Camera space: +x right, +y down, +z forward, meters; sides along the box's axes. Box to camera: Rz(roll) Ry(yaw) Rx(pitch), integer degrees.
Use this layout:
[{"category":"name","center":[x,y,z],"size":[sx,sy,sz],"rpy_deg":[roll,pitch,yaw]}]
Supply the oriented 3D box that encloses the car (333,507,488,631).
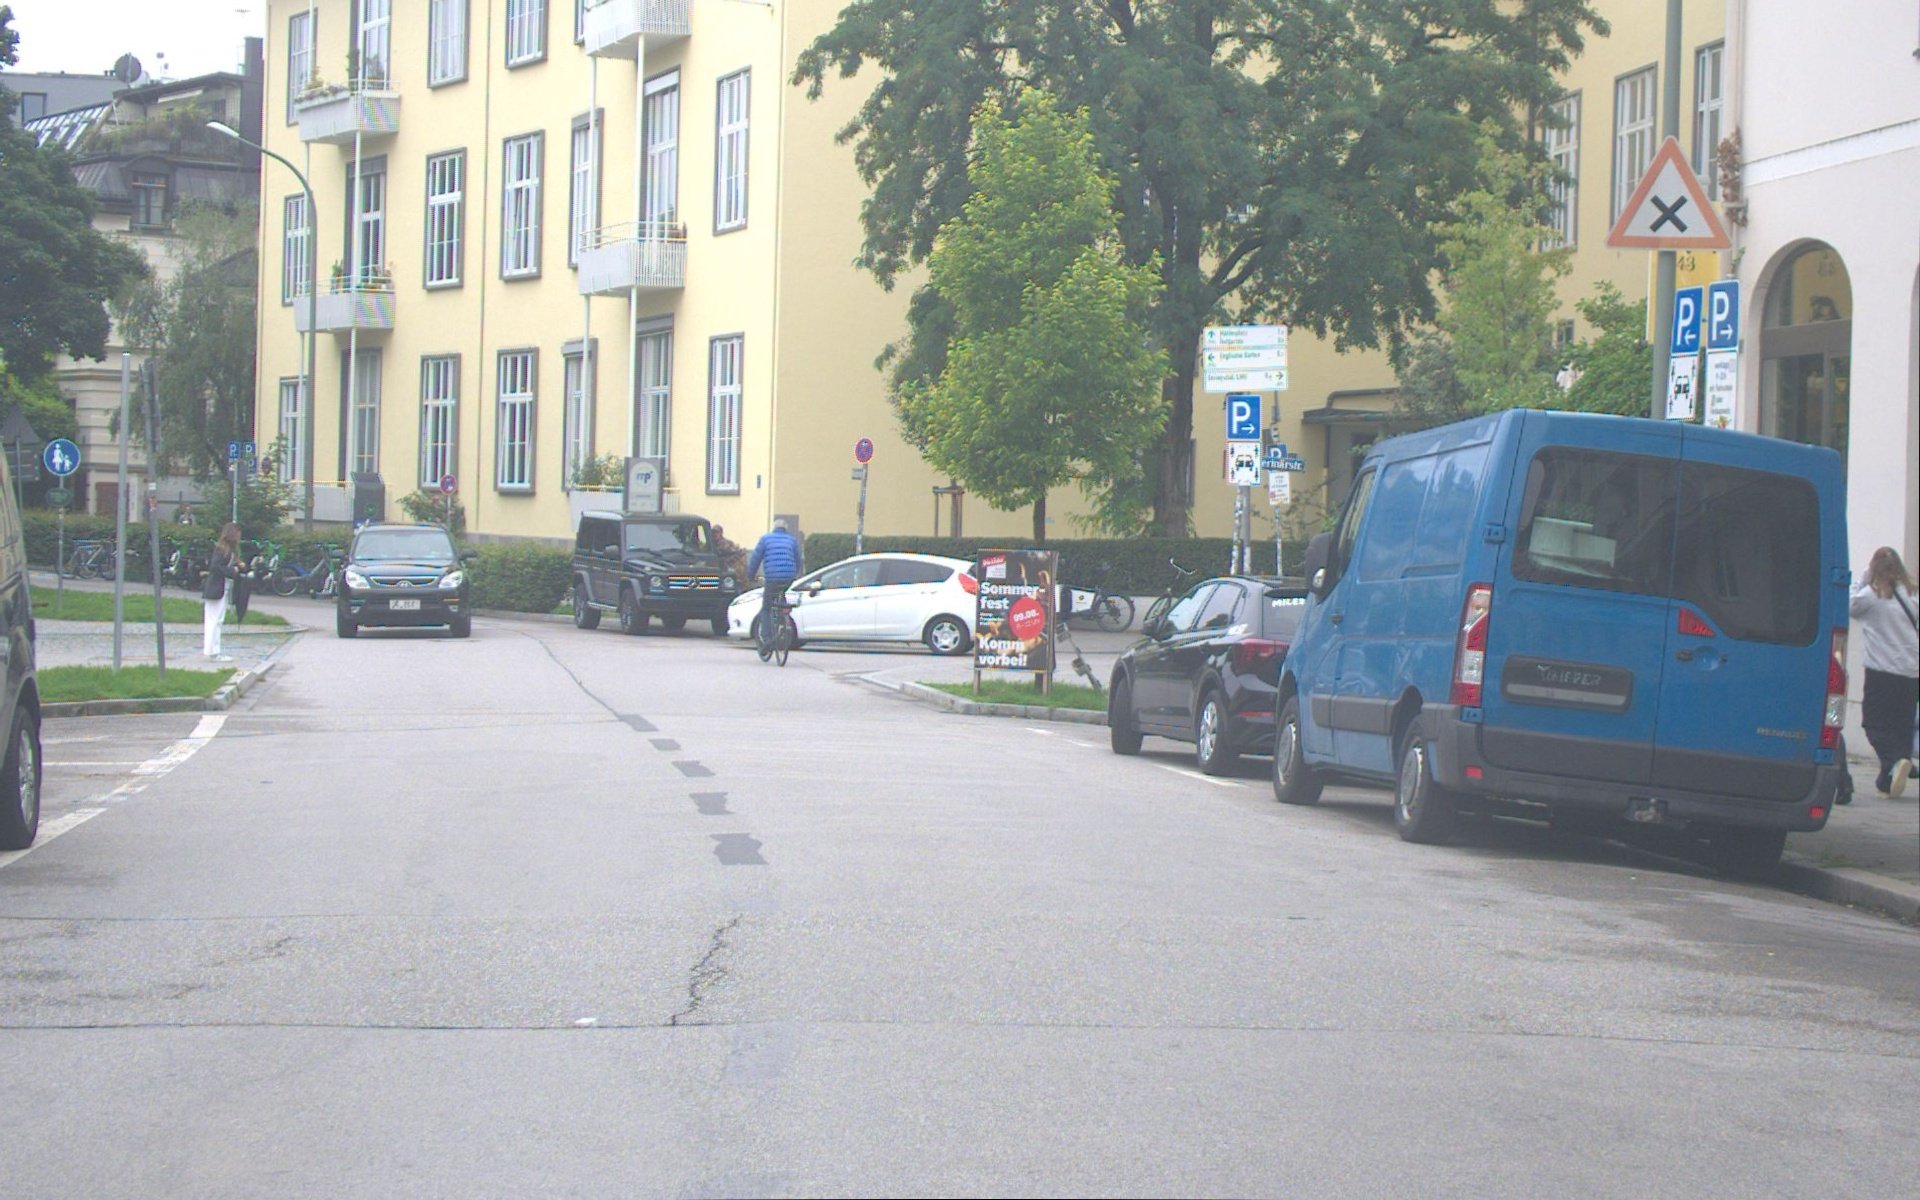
[{"category":"car","center":[-8.384,-0.507,52.159],"size":[1.993,1.713,4.617],"rpy_deg":[1,2,-13]}]

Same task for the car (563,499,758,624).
[{"category":"car","center":[-4.943,-0.662,56.101],"size":[1.873,1.881,4.620],"rpy_deg":[1,2,-22]}]

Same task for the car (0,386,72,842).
[{"category":"car","center":[-5.074,0.097,14.277],"size":[1.925,1.972,4.624],"rpy_deg":[-2,2,-5]}]

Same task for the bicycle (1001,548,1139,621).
[{"category":"bicycle","center":[1.789,-0.259,55.930],"size":[2.168,1.112,0.640],"rpy_deg":[2,2,8]}]

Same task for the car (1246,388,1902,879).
[{"category":"car","center":[3.237,0.180,19.391],"size":[2.109,2.206,5.029],"rpy_deg":[6,-1,-6]}]

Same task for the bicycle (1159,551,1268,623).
[{"category":"bicycle","center":[4.106,-0.210,55.765],"size":[1.681,1.126,0.460],"rpy_deg":[1,2,-9]}]

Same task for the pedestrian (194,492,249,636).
[{"category":"pedestrian","center":[-8.784,-0.439,40.876],"size":[0.542,1.691,0.667],"rpy_deg":[-1,2,-20]}]

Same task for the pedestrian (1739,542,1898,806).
[{"category":"pedestrian","center":[5.390,0.453,21.625],"size":[0.678,1.623,0.830],"rpy_deg":[0,0,-10]}]

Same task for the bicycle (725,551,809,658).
[{"category":"bicycle","center":[-2.427,0.038,43.461],"size":[0.921,1.248,2.322],"rpy_deg":[1,2,0]}]

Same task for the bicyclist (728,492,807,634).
[{"category":"bicyclist","center":[-2.421,-0.479,43.377],"size":[0.914,1.758,1.215],"rpy_deg":[1,2,-1]}]

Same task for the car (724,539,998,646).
[{"category":"car","center":[-1.409,-0.124,49.839],"size":[3.716,1.401,1.753],"rpy_deg":[2,2,7]}]

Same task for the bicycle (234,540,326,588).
[{"category":"bicycle","center":[-15.066,-0.792,76.212],"size":[0.619,1.025,1.972],"rpy_deg":[2,1,44]}]

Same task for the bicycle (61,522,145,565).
[{"category":"bicycle","center":[-21.187,-1.392,85.002],"size":[0.619,1.025,1.972],"rpy_deg":[2,1,44]}]

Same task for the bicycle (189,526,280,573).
[{"category":"bicycle","center":[-16.351,-1.131,77.545],"size":[0.619,1.025,1.972],"rpy_deg":[2,1,44]}]

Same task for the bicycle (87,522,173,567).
[{"category":"bicycle","center":[-20.048,-1.340,83.027],"size":[0.619,1.025,1.972],"rpy_deg":[2,1,44]}]

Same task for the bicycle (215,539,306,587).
[{"category":"bicycle","center":[-15.616,-0.830,76.784],"size":[0.619,1.025,1.972],"rpy_deg":[2,1,44]}]

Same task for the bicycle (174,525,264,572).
[{"category":"bicycle","center":[-16.911,-1.175,78.463],"size":[0.619,1.025,1.972],"rpy_deg":[2,1,44]}]

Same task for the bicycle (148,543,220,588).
[{"category":"bicycle","center":[-18.054,-0.803,80.007],"size":[0.532,1.025,1.975],"rpy_deg":[2,1,24]}]

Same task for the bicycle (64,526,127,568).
[{"category":"bicycle","center":[-21.359,-1.310,84.941],"size":[0.409,1.011,1.534],"rpy_deg":[2,3,41]}]

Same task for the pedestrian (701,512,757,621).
[{"category":"pedestrian","center":[-3.783,-0.558,56.262],"size":[0.848,1.751,0.954],"rpy_deg":[1,2,-7]}]

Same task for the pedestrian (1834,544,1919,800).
[{"category":"pedestrian","center":[6.063,0.443,21.933],"size":[0.711,1.599,0.700],"rpy_deg":[0,1,-9]}]

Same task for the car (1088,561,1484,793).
[{"category":"car","center":[2.300,0.507,25.363],"size":[1.714,1.390,4.001],"rpy_deg":[5,1,-12]}]
